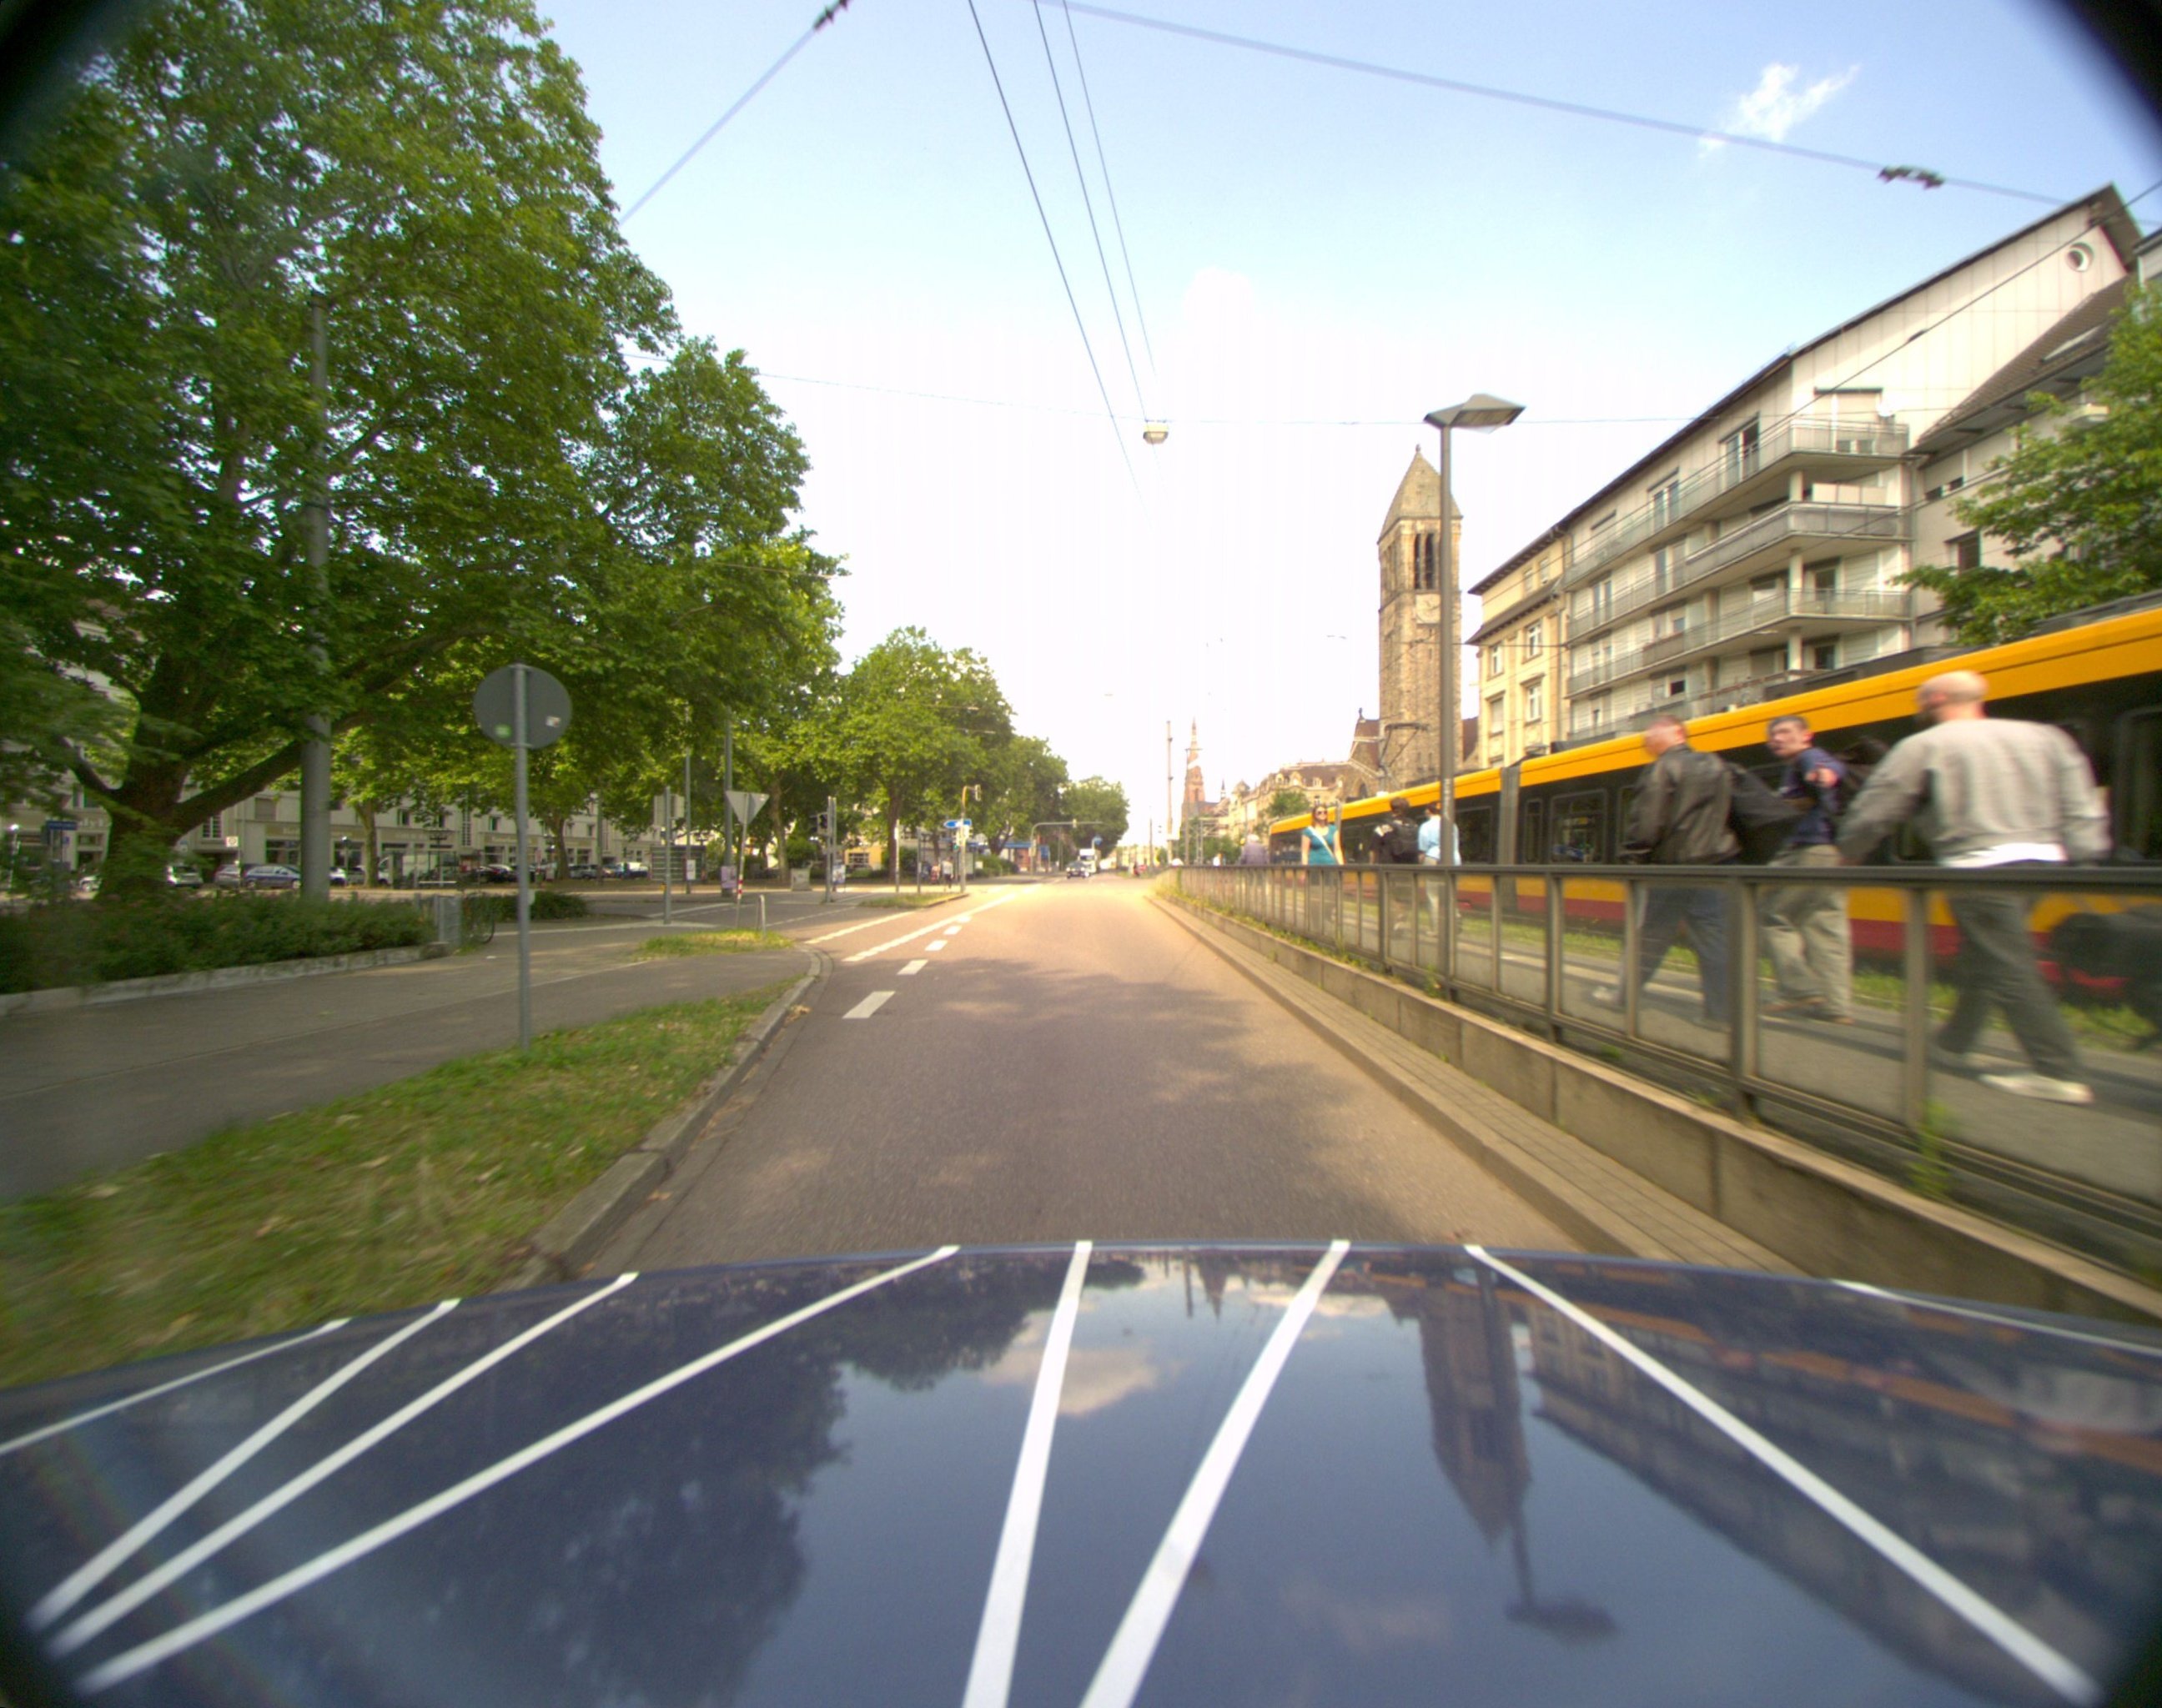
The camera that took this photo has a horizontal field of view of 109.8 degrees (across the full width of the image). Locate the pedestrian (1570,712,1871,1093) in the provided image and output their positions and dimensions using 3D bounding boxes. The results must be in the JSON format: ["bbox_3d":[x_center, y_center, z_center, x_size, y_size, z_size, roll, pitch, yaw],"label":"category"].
[{"bbox_3d":[3.456,0.243,4.227,0.812,1.861,1.031,0,0,1],"label":"pedestrian"}]

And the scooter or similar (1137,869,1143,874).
[{"bbox_3d":[6.025,1.794,77.028,0.521,0.532,0.310,2,0,-10],"label":"scooter or similar"}]

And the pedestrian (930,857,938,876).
[{"bbox_3d":[-13.667,1.193,70.770,0.607,1.740,0.697,0,0,-22],"label":"pedestrian"}]

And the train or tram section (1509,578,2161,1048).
[{"bbox_3d":[9.641,-0.302,8.452,2.730,3.563,13.018,-1,0,2],"label":"train or tram section"}]

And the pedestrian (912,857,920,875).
[{"bbox_3d":[-15.427,1.105,70.936,0.606,1.740,0.697,0,0,-22],"label":"pedestrian"}]

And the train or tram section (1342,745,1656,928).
[{"bbox_3d":[10.003,-0.298,20.139,2.802,3.563,10.405,-1,0,2],"label":"train or tram section"}]

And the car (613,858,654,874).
[{"bbox_3d":[-56.605,1.560,96.131,3.996,1.952,2.001,0,0,4],"label":"car"}]

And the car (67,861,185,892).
[{"bbox_3d":[-58.264,1.352,46.422,4.717,1.785,1.911,0,0,-1],"label":"car"}]

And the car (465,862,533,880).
[{"bbox_3d":[-47.036,1.390,61.419,3.996,1.413,2.000,-1,0,2],"label":"car"}]

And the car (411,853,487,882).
[{"bbox_3d":[-47.020,1.012,56.589,3.996,2.064,2.000,-1,0,2],"label":"car"}]

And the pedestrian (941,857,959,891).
[{"bbox_3d":[-6.865,1.023,39.816,0.694,1.772,0.887,0,0,4],"label":"pedestrian"}]

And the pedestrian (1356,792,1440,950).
[{"bbox_3d":[3.843,0.204,9.275,0.703,1.838,0.789,0,0,1],"label":"pedestrian"}]

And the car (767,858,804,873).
[{"bbox_3d":[-37.790,1.479,97.269,3.996,1.789,1.870,0,0,4],"label":"car"}]

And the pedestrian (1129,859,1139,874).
[{"bbox_3d":[5.346,1.280,76.761,0.776,1.483,0.658,2,0,-10],"label":"pedestrian"}]

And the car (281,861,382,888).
[{"bbox_3d":[-47.972,1.309,48.688,4.535,1.680,1.912,0,0,0],"label":"car"}]

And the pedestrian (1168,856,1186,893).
[{"bbox_3d":[4.383,0.933,34.624,0.624,1.656,0.677,0,0,28],"label":"pedestrian"}]

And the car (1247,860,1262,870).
[{"bbox_3d":[28.535,1.815,124.871,1.788,1.486,3.839,-1,-1,2],"label":"car"}]

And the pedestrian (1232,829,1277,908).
[{"bbox_3d":[3.971,0.336,17.449,0.859,1.764,0.876,0,0,2],"label":"pedestrian"}]

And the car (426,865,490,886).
[{"bbox_3d":[-42.647,1.446,52.055,3.066,1.381,1.469,0,0,-7],"label":"car"}]

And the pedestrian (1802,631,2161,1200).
[{"bbox_3d":[3.851,0.196,2.850,0.888,1.790,1.495,0,0,1],"label":"pedestrian"}]

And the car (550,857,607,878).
[{"bbox_3d":[-47.365,1.255,71.695,3.997,2.002,2.000,0,0,0],"label":"car"}]

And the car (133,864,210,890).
[{"bbox_3d":[-58.362,1.465,48.805,3.065,1.656,1.470,0,0,-3],"label":"car"}]

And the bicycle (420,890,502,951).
[{"bbox_3d":[-11.219,1.180,13.742,1.724,1.003,0.535,-1,0,29],"label":"bicycle"}]

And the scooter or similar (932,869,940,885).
[{"bbox_3d":[-9.499,1.495,49.876,0.491,1.050,0.708,0,0,-7],"label":"scooter or similar"}]

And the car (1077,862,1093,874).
[{"bbox_3d":[0.488,1.683,93.134,1.733,1.457,4.328,0,0,2],"label":"car"}]

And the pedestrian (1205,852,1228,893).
[{"bbox_3d":[6.073,0.825,34.084,0.850,1.770,1.045,0,0,2],"label":"pedestrian"}]

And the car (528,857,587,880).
[{"bbox_3d":[-47.646,1.298,69.203,3.996,2.002,2.000,0,0,3],"label":"car"}]

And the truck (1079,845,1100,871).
[{"bbox_3d":[1.424,0.592,125.164,2.914,4.125,6.593,0,0,4],"label":"truck"}]

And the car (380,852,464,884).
[{"bbox_3d":[-46.702,1.000,53.894,4.253,2.170,2.000,-1,0,2],"label":"car"}]

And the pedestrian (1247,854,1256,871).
[{"bbox_3d":[17.047,0.822,75.916,0.771,1.721,0.744,0,0,1],"label":"pedestrian"}]

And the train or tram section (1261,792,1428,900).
[{"bbox_3d":[10.324,-0.227,31.842,2.814,3.563,13.018,-1,0,2],"label":"train or tram section"}]

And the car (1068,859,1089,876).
[{"bbox_3d":[-0.238,1.340,77.968,1.853,1.716,4.420,0,0,3],"label":"car"}]

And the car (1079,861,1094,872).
[{"bbox_3d":[0.730,1.660,101.618,1.853,1.438,3.974,0,0,3],"label":"car"}]

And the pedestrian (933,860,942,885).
[{"bbox_3d":[-9.579,1.212,50.696,0.570,1.636,0.922,0,0,-7],"label":"pedestrian"}]

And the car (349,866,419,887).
[{"bbox_3d":[-46.901,1.506,51.182,3.235,1.381,1.469,0,0,-5],"label":"car"}]

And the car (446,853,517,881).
[{"bbox_3d":[-46.574,1.017,59.058,3.996,2.064,2.000,-1,0,2],"label":"car"}]

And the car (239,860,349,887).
[{"bbox_3d":[-47.480,1.165,45.917,4.535,1.591,2.034,0,0,0],"label":"car"}]

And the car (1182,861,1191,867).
[{"bbox_3d":[25.786,2.515,185.556,1.818,1.497,4.133,0,-1,4],"label":"car"}]

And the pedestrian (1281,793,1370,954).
[{"bbox_3d":[2.997,0.235,9.386,0.829,1.888,0.846,0,0,2],"label":"pedestrian"}]

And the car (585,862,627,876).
[{"bbox_3d":[-56.548,1.729,90.459,3.996,1.627,1.745,0,0,4],"label":"car"}]

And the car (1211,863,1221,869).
[{"bbox_3d":[28.778,2.497,161.549,1.654,1.226,3.064,-1,-1,2],"label":"car"}]

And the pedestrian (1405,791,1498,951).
[{"bbox_3d":[4.473,0.199,9.231,0.703,1.838,0.908,0,0,1],"label":"pedestrian"}]

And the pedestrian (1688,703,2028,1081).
[{"bbox_3d":[4.136,0.188,4.168,0.713,1.790,1.132,0,0,1],"label":"pedestrian"}]
